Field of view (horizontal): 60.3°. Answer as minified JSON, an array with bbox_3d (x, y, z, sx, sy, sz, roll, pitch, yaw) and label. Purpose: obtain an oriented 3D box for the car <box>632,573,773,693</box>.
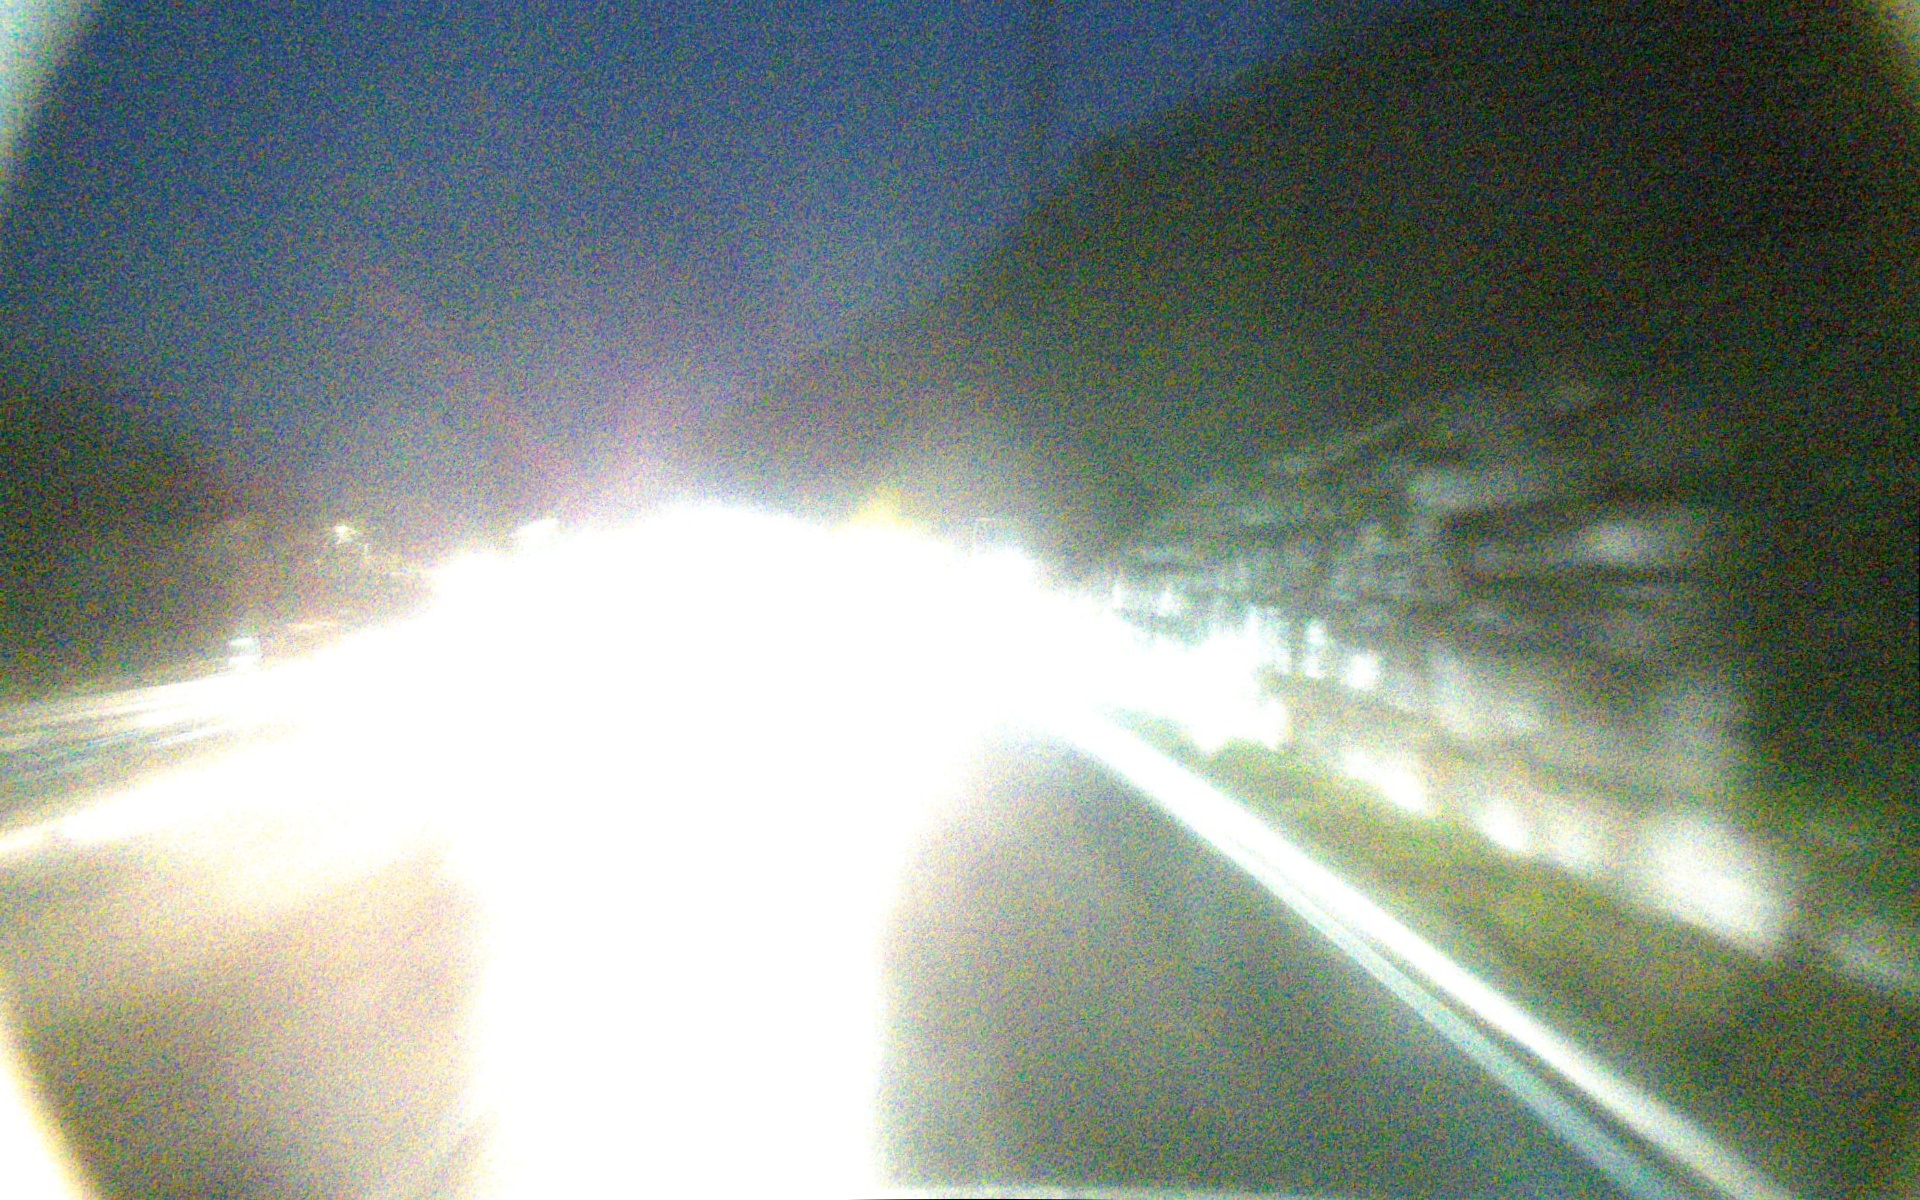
[{"bbox_3d":[-3.965,0.440,26.100,1.753,1.651,4.374,0,2,-3],"label":"car"}]
